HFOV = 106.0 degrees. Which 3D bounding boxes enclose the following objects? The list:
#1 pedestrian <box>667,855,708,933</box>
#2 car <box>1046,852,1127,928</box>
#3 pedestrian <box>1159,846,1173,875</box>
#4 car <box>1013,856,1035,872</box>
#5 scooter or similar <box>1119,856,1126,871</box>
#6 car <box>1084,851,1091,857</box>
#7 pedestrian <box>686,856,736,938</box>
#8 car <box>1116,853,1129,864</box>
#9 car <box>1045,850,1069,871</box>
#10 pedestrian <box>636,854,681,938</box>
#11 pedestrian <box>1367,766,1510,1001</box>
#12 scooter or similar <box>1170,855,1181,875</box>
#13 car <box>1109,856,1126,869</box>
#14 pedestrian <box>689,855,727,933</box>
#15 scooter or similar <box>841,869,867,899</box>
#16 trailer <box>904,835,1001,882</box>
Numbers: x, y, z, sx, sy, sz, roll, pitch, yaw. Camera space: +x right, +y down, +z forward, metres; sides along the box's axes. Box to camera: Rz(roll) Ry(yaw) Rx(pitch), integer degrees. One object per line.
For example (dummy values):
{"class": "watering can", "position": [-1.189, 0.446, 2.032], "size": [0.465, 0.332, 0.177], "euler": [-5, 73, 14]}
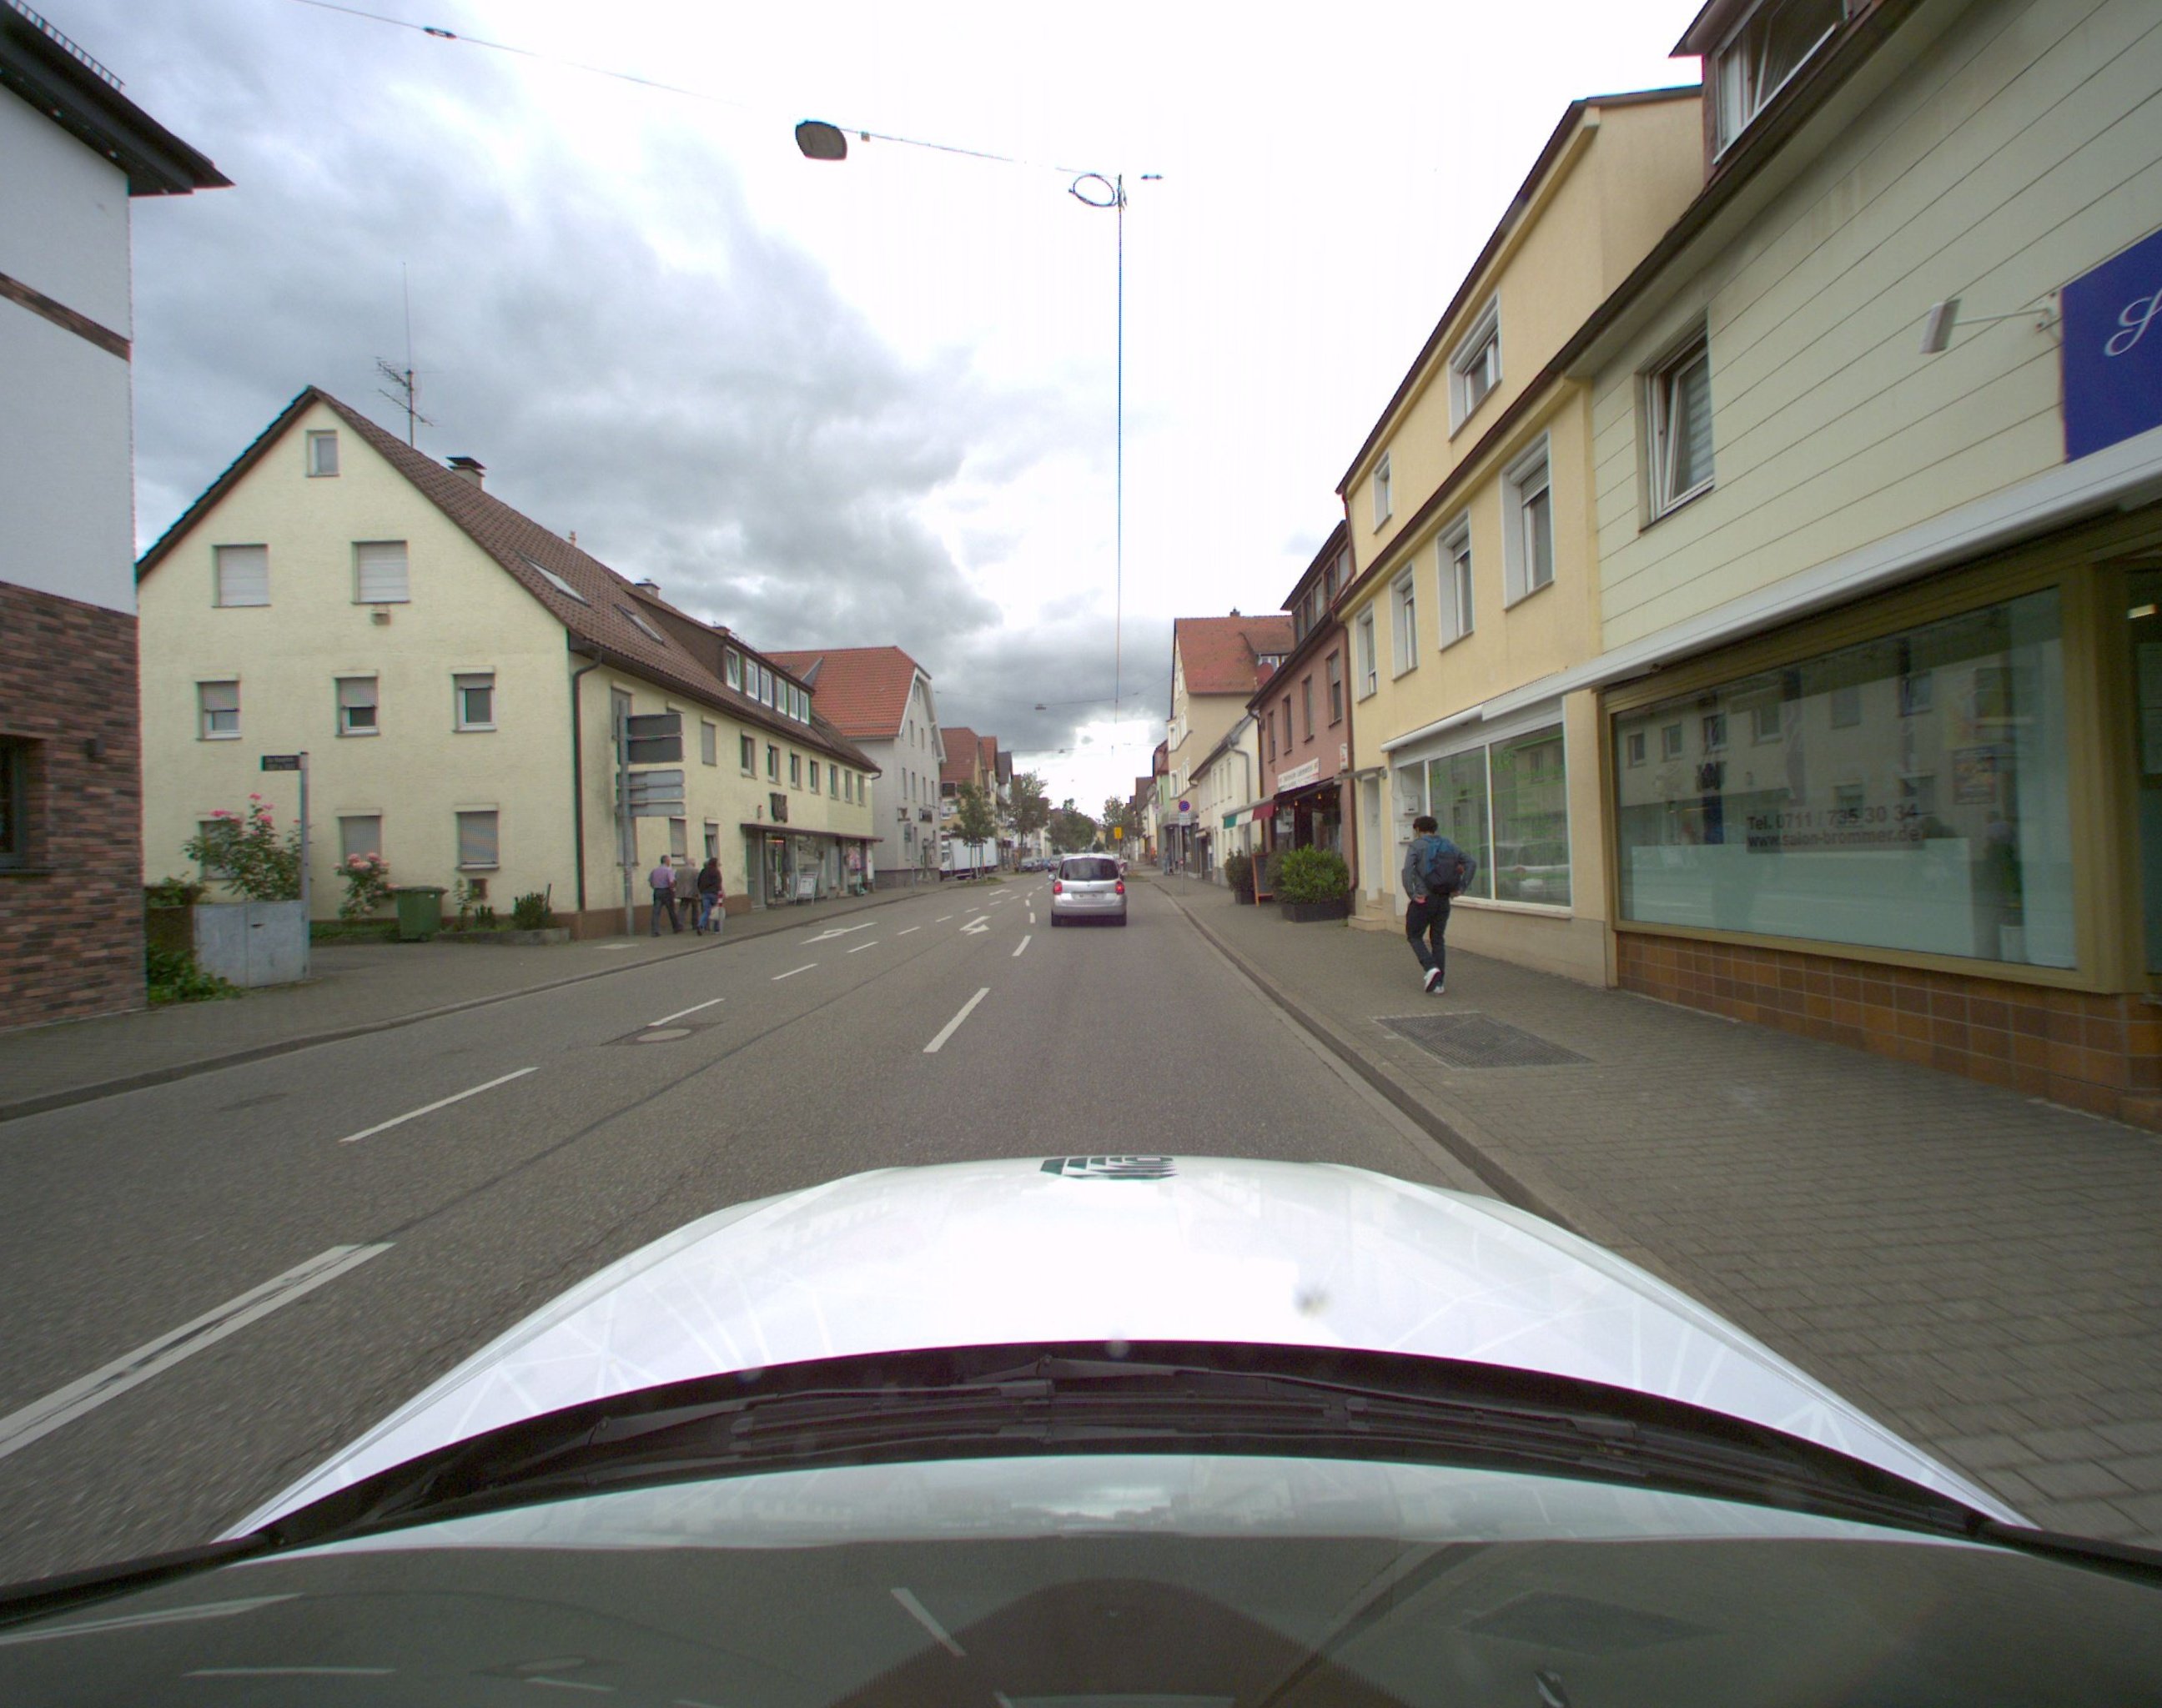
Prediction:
{"class": "pedestrian", "position": [-9.076, 0.914, 18.813], "size": [0.551, 1.737, 0.648], "euler": [-2, 0, 1]}
{"class": "car", "position": [0.203, 0.758, 19.117], "size": [1.676, 1.566, 3.996], "euler": [-1, 0, 2]}
{"class": "pedestrian", "position": [5.214, 0.399, 50.164], "size": [0.747, 1.720, 0.900], "euler": [-1, 0, 2]}
{"class": "car", "position": [-5.350, 0.934, 76.569], "size": [1.676, 1.424, 3.932], "euler": [-3, 0, 1]}
{"class": "scooter or similar", "position": [3.390, 0.750, 66.968], "size": [0.500, 1.235, 1.943], "euler": [-1, 0, 1]}
{"class": "car", "position": [2.075, 0.065, 245.363], "size": [1.893, 1.737, 4.368], "euler": [-3, 0, 2]}
{"class": "pedestrian", "position": [-8.110, 0.925, 17.875], "size": [0.675, 1.737, 0.717], "euler": [-2, 0, 1]}
{"class": "car", "position": [5.831, 0.608, 115.377], "size": [1.824, 1.497, 3.996], "euler": [-1, 0, 2]}
{"class": "car", "position": [-2.324, 0.614, 78.962], "size": [1.986, 1.796, 4.278], "euler": [-3, 0, 1]}
{"class": "pedestrian", "position": [-9.030, 0.884, 17.439], "size": [0.551, 1.737, 0.648], "euler": [-2, 0, 1]}
{"class": "pedestrian", "position": [3.425, 0.270, 7.917], "size": [0.820, 2.074, 1.012], "euler": [-5, -1, 4]}
{"class": "scooter or similar", "position": [5.880, 0.653, 50.954], "size": [0.587, 1.232, 0.891], "euler": [-1, 0, 1]}
{"class": "car", "position": [4.034, 0.915, 89.972], "size": [1.824, 1.445, 4.334], "euler": [-1, 0, 2]}
{"class": "pedestrian", "position": [-8.504, 0.891, 18.562], "size": [0.494, 1.737, 0.648], "euler": [-2, 0, 1]}
{"class": "scooter or similar", "position": [-9.471, 1.240, 34.028], "size": [0.526, 1.170, 1.722], "euler": [-1, 0, 2]}
{"class": "trailer", "position": [-9.368, 0.302, 60.052], "size": [2.479, 3.219, 7.179], "euler": [-1, 0, 41]}
